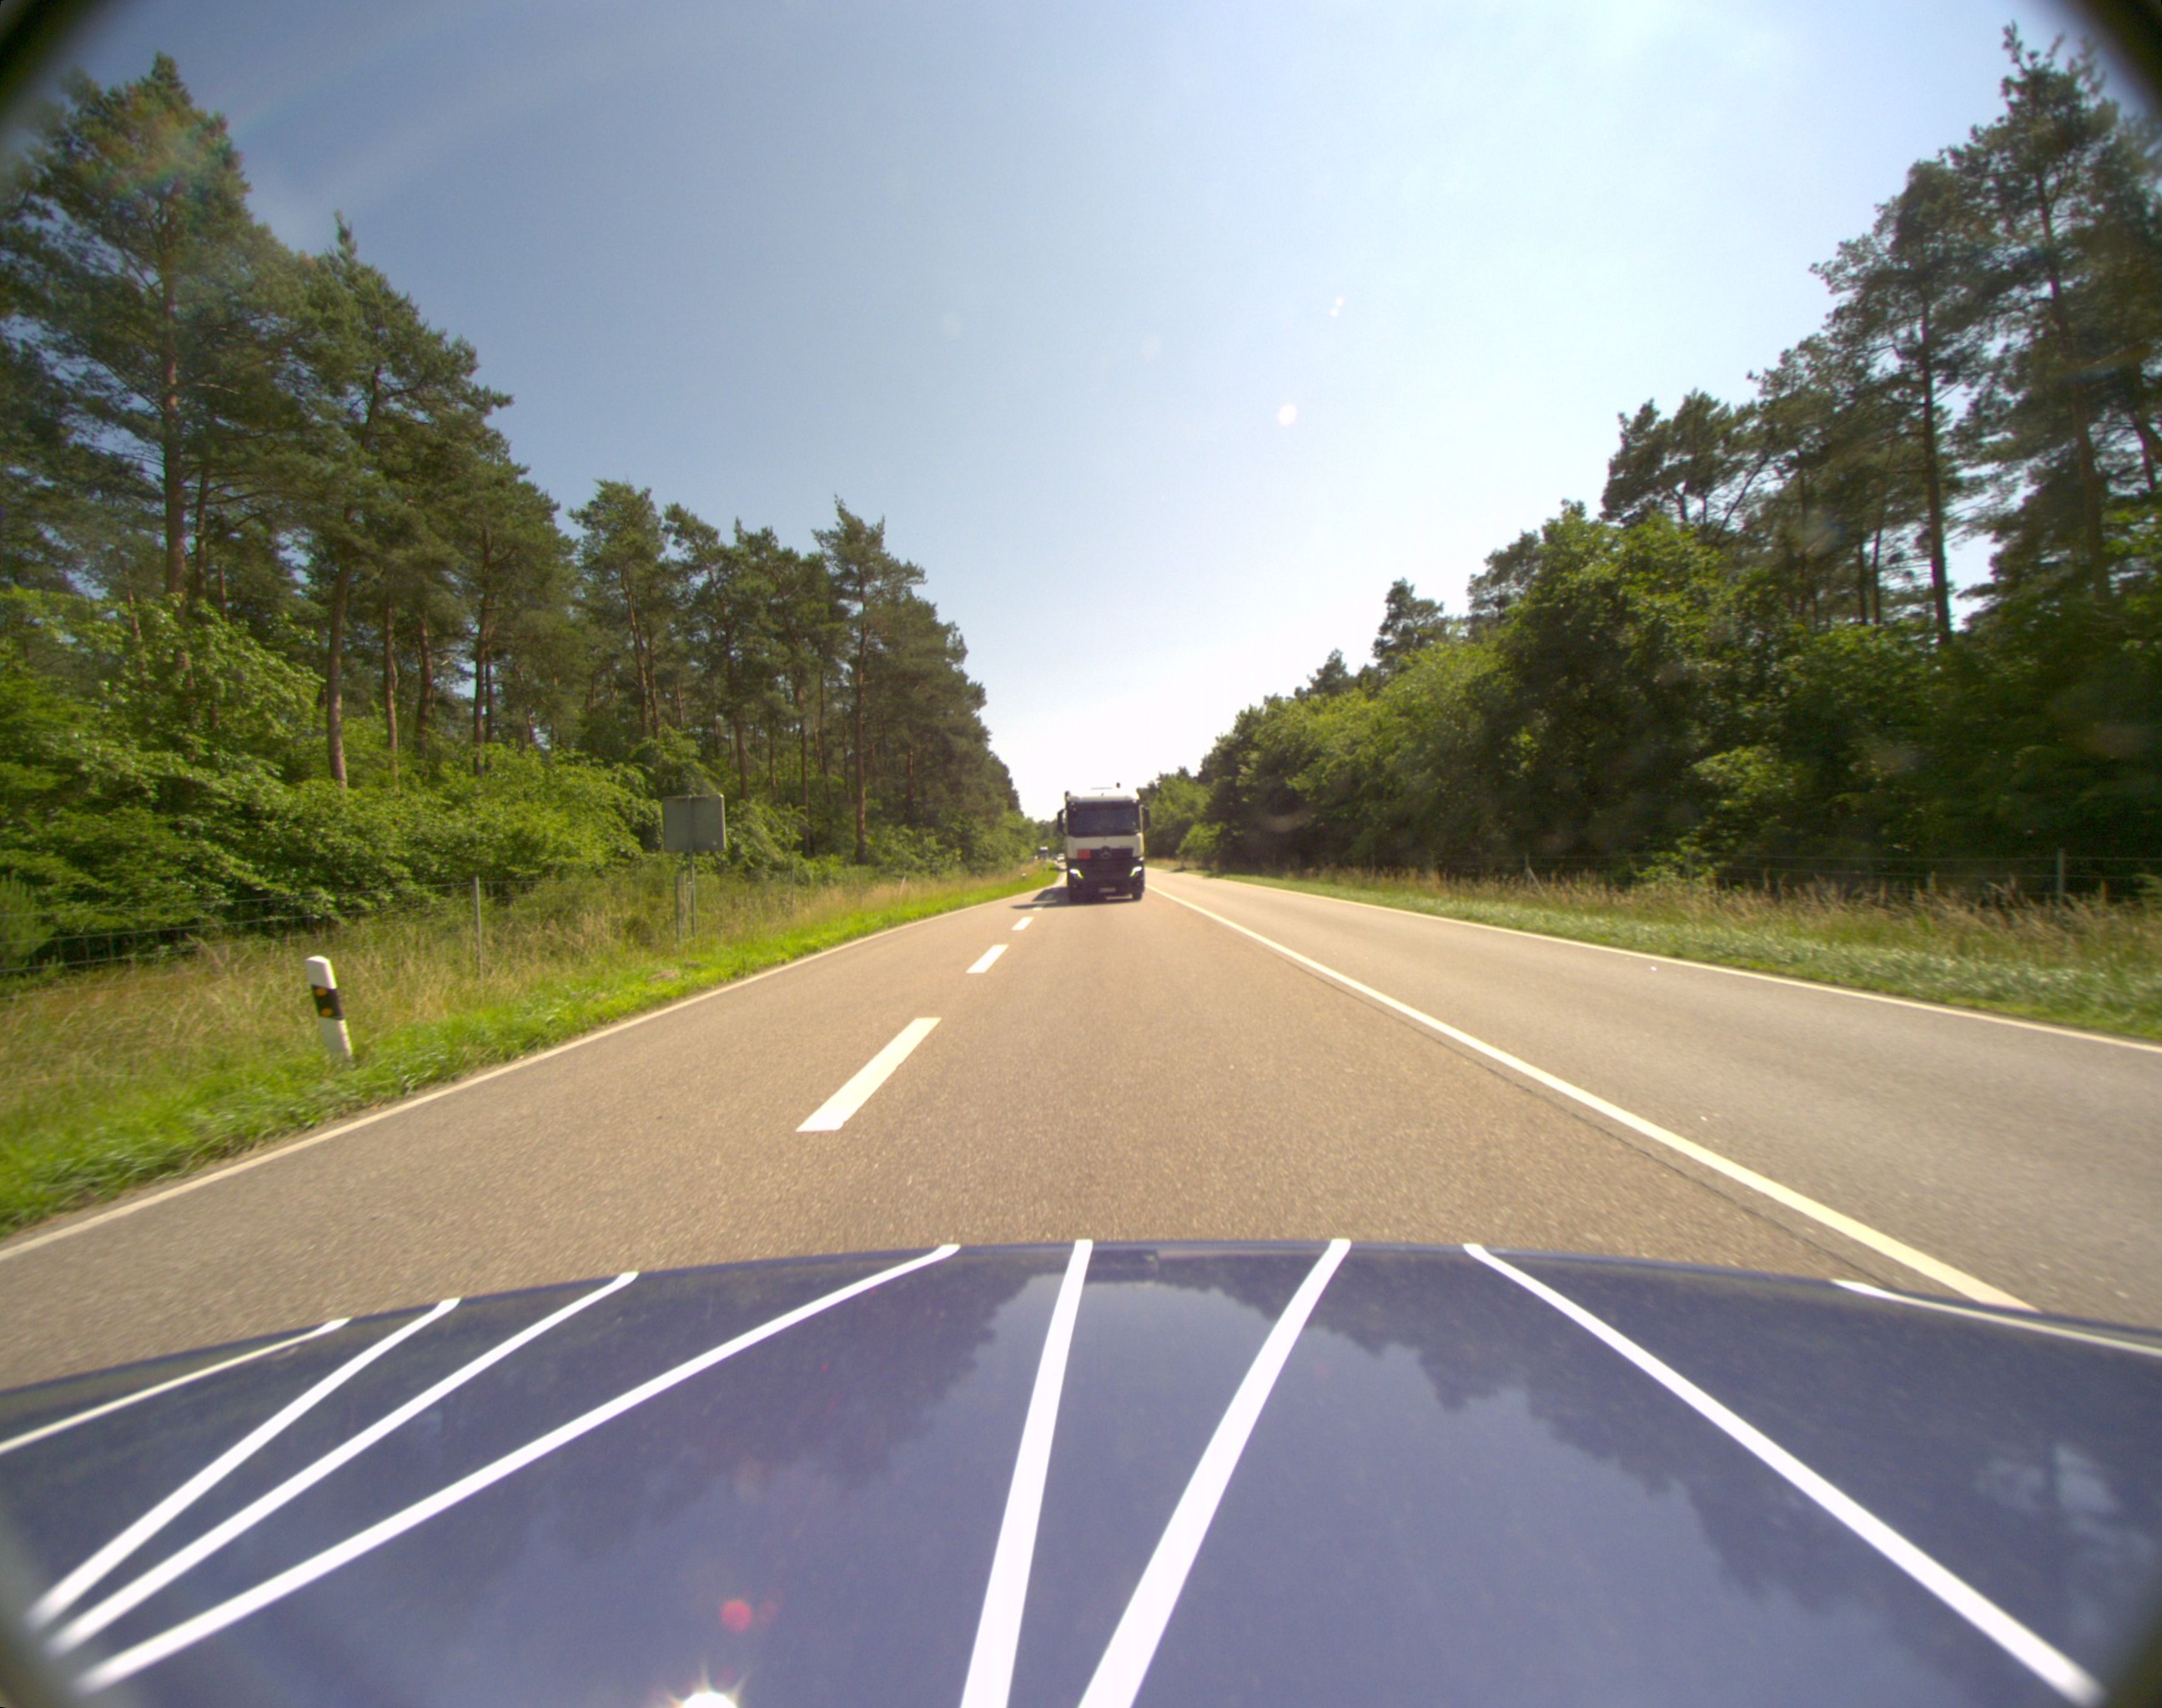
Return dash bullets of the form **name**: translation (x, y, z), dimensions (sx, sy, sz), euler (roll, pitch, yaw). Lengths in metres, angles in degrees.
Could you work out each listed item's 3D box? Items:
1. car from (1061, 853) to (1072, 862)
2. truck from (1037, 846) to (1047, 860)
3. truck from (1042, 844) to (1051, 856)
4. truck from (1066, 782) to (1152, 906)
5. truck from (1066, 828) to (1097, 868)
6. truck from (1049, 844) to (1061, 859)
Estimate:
- **car**: translation (-2.751, 0.624, 141.127), dimensions (1.885, 1.462, 3.999), euler (-2, 0, -3)
- **truck**: translation (-10.658, -0.263, 207.090), dimensions (2.495, 3.619, 6.100), euler (-2, 0, -5)
- **truck**: translation (-10.771, -1.193, 235.849), dimensions (2.495, 3.619, 6.100), euler (-2, 0, -5)
- **truck**: translation (0.844, -0.307, 26.605), dimensions (2.435, 3.672, 6.456), euler (-3, 0, -1)
- **truck**: translation (-0.045, -0.564, 74.727), dimensions (2.495, 3.698, 6.221), euler (0, 0, -5)
- **truck**: translation (-6.540, -0.641, 191.705), dimensions (2.495, 3.619, 6.100), euler (-2, 0, -5)
